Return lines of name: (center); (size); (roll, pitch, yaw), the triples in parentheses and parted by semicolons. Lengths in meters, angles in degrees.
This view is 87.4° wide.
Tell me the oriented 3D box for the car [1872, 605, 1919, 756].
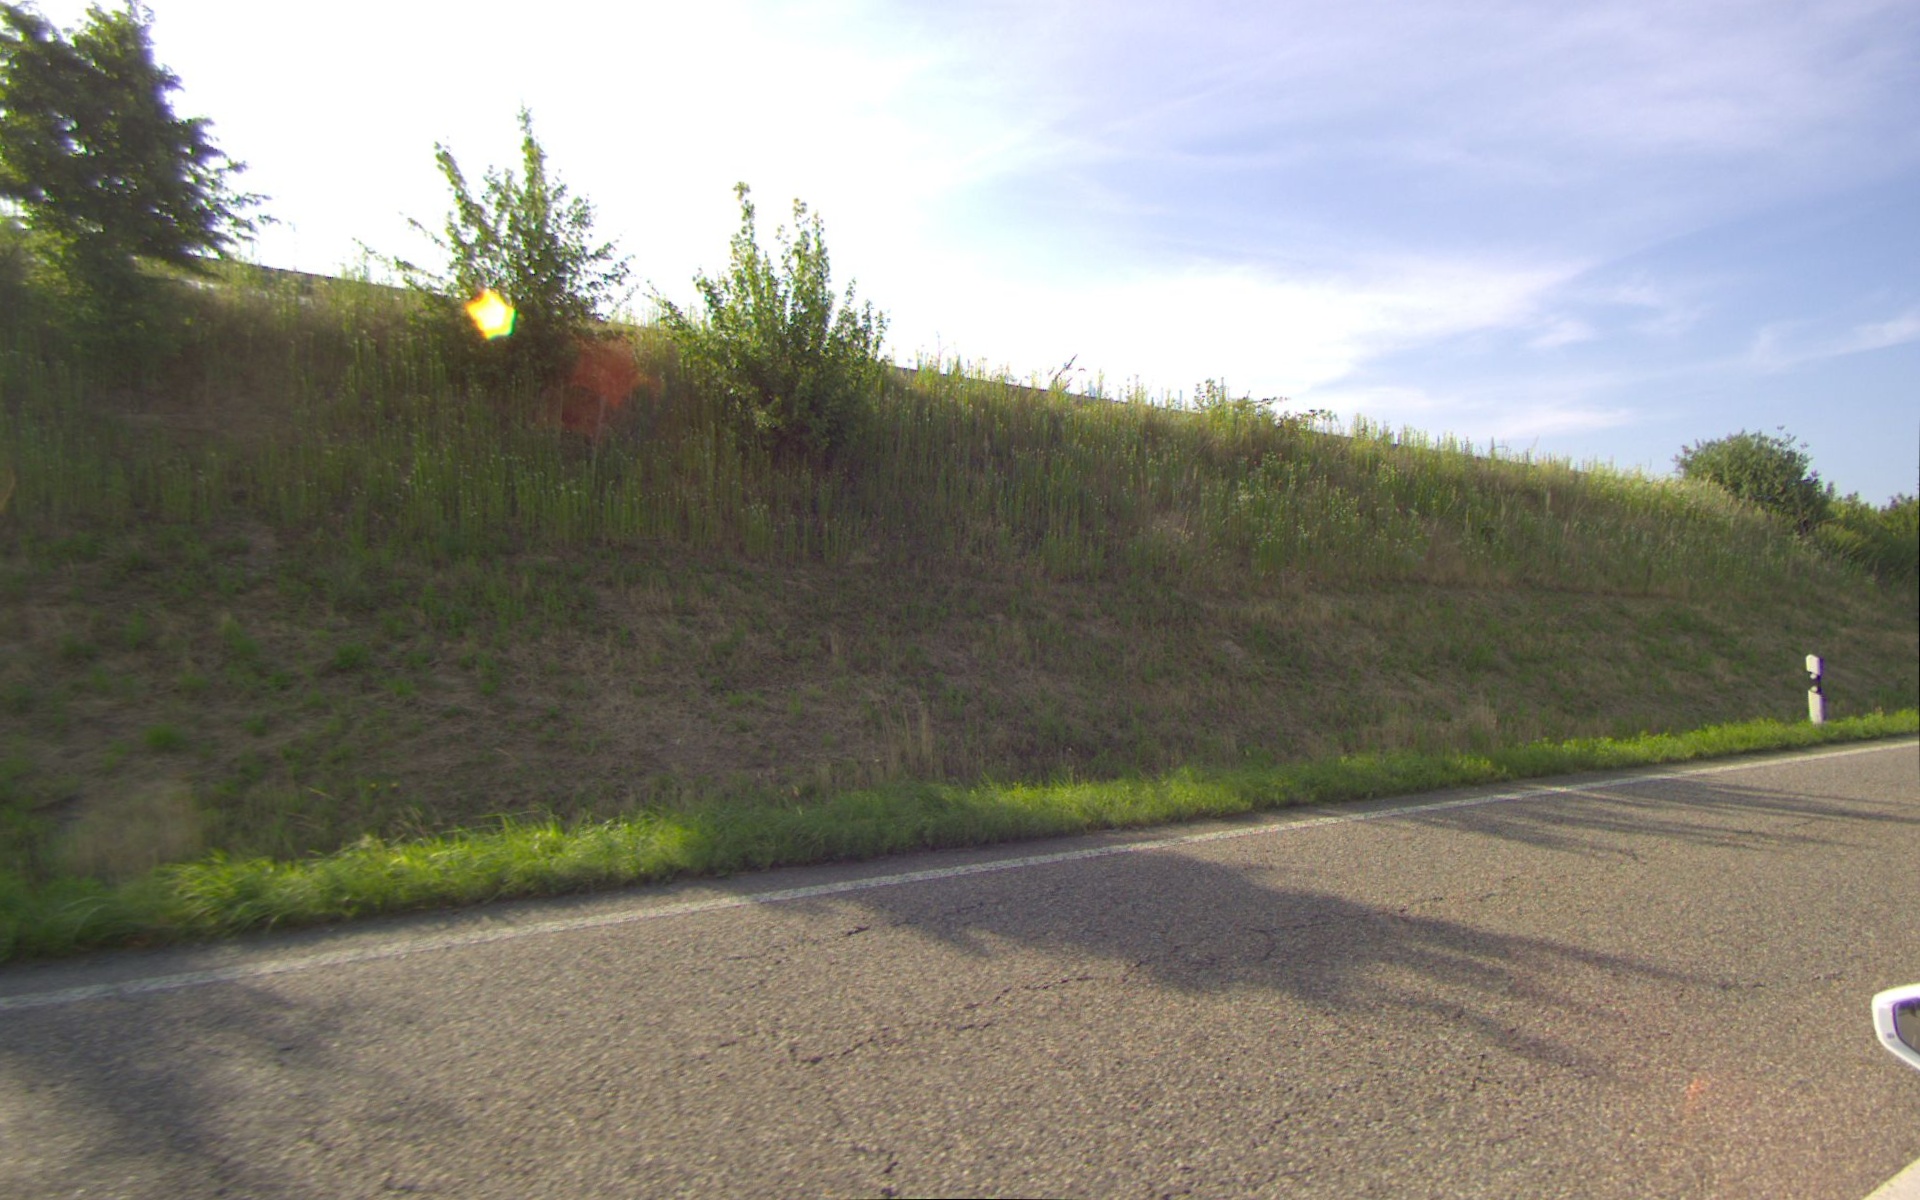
car: (12.782, 0.944, 11.387); (5.278, 1.594, 2.130); (2, 1, -31)
